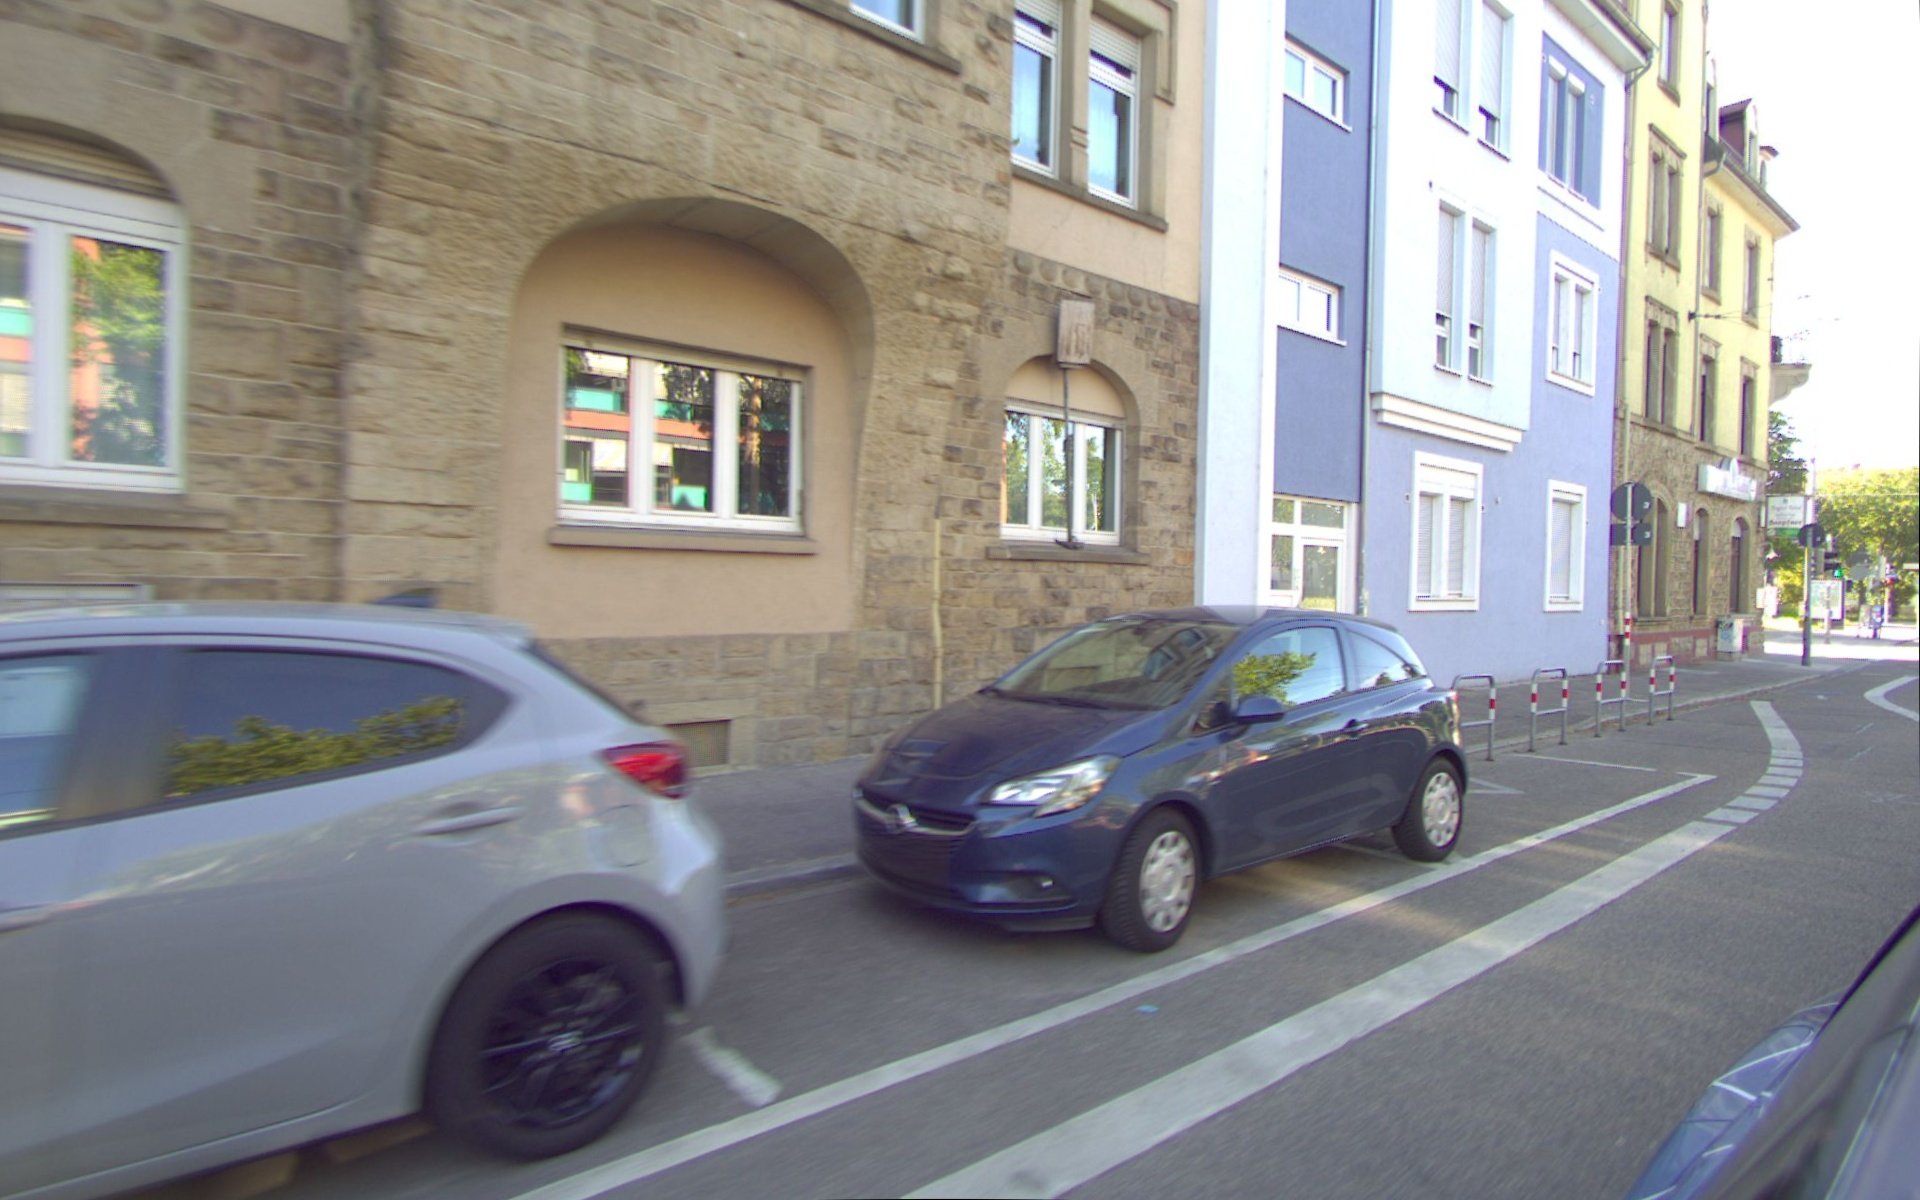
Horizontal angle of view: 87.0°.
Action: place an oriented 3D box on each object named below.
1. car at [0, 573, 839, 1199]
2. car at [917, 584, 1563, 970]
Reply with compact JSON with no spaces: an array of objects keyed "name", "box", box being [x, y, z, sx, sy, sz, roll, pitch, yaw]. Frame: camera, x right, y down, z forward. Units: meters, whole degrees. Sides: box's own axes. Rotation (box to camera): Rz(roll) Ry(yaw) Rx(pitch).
[{"name":"car","box":[-2.531,0.712,2.566,4.119,1.520,1.757,0,-1,-38]},{"name":"car","box":[1.813,0.674,5.844,3.928,1.501,1.659,0,0,-40]}]
